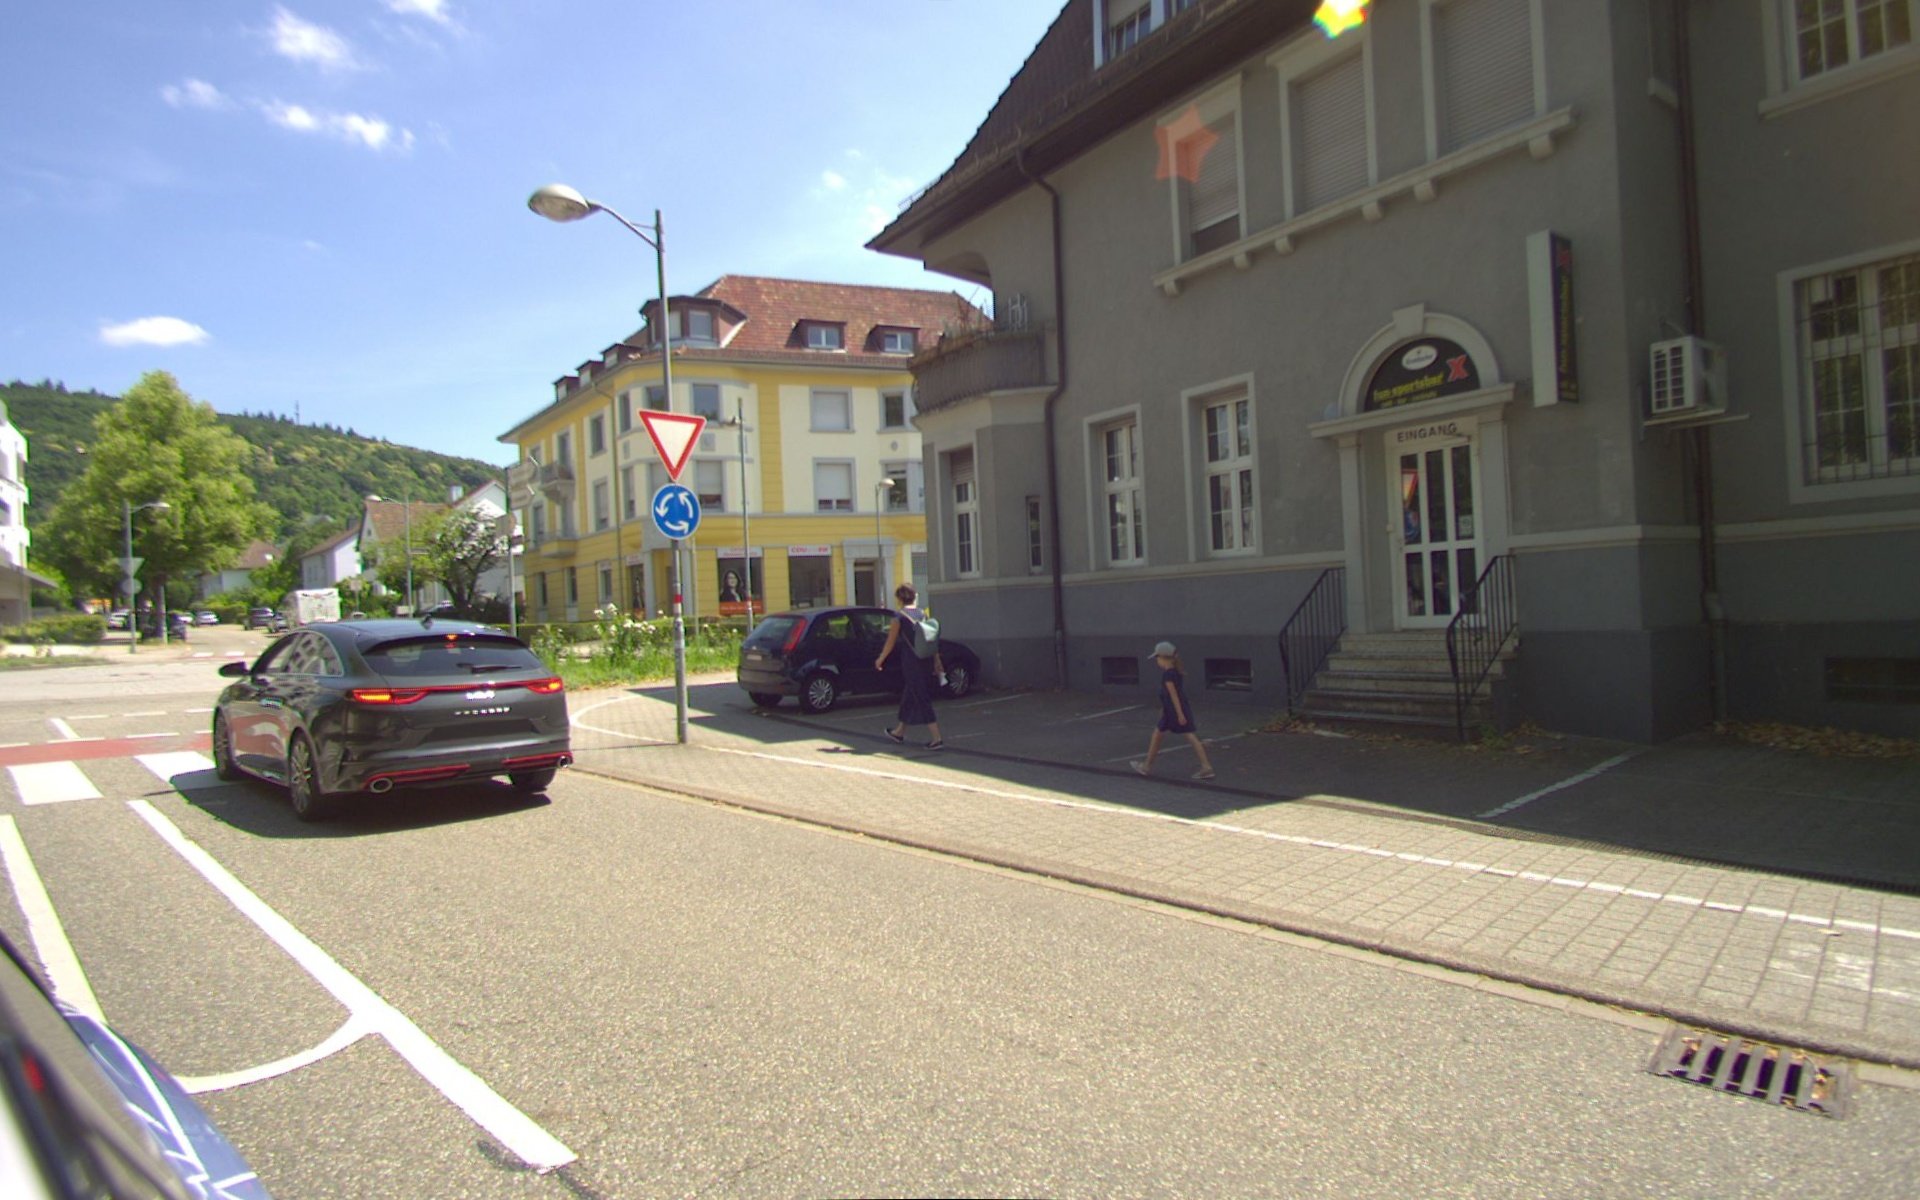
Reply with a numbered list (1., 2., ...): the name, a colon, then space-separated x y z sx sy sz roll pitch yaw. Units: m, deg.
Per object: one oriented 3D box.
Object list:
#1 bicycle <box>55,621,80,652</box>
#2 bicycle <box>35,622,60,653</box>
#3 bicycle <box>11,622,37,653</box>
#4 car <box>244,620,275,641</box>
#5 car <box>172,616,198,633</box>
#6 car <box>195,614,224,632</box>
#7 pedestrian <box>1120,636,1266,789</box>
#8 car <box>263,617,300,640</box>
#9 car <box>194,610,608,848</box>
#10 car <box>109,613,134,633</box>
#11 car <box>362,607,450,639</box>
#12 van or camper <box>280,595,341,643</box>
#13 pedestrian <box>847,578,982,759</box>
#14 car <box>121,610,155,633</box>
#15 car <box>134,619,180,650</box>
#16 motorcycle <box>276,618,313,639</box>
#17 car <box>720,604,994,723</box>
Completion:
1. bicycle: -42.803 1.738 48.548 0.560 1.388 1.753 -1 0 -31
2. bicycle: -43.433 1.773 48.173 0.560 1.388 1.753 -1 0 -31
3. bicycle: -44.115 1.761 47.708 0.560 1.388 1.753 -1 0 -31
4. car: -55.803 2.394 80.604 1.728 1.516 4.000 -2 0 -39
5. car: -84.500 2.631 110.280 1.969 1.678 4.006 -2 1 -41
6. car: -76.175 2.319 102.715 1.969 1.678 4.006 -2 1 -41
7. pedestrian: 1.916 0.884 8.345 0.745 1.130 0.898 -1 0 -44
8. car: -46.241 1.922 68.937 1.728 1.516 4.000 -2 0 -39
9. car: -4.831 0.838 8.426 4.393 1.437 1.749 -1 0 43
10. car: -79.055 2.169 95.419 1.739 1.763 4.007 -2 1 -39
11. car: -31.069 1.284 56.833 1.753 1.598 3.943 -2 0 37
12. van or camper: -39.666 1.149 61.729 2.239 2.657 5.895 -5 3 -40
13. pedestrian: -0.482 0.668 10.556 0.861 1.755 1.113 -1 0 -44
14. car: -66.729 1.740 82.120 1.969 1.678 4.006 -2 1 -41
15. car: -42.555 1.802 53.610 1.729 1.516 3.998 -2 0 -40
16. motorcycle: -43.321 1.843 65.932 0.731 1.329 2.229 -1 0 7
17. car: -1.468 0.842 15.115 3.733 1.471 1.727 -2 0 -40
